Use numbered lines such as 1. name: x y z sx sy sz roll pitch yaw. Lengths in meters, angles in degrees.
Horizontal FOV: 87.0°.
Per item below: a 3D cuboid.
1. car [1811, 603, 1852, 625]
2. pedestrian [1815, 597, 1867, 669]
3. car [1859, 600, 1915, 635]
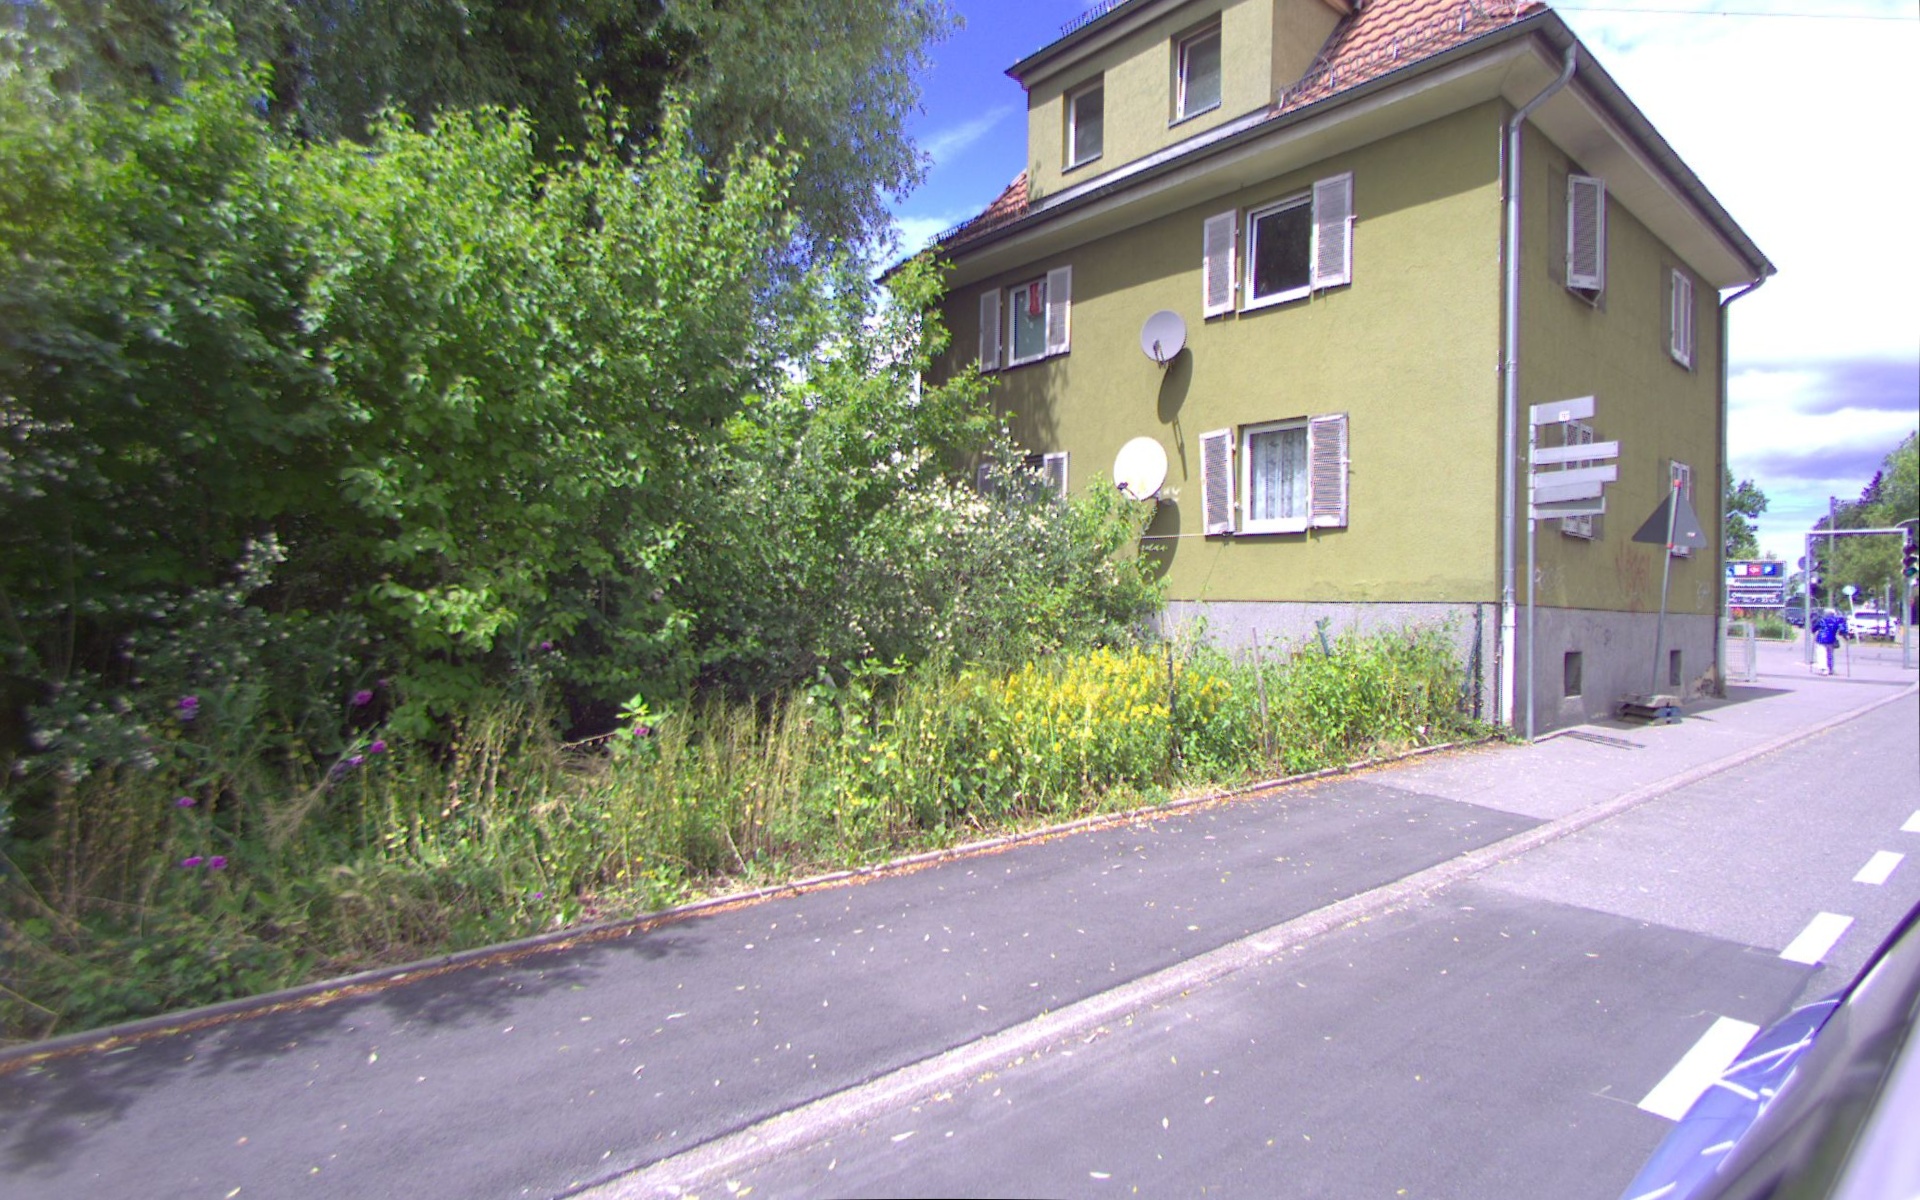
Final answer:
1. car: 62.465 0.973 72.602 1.694 1.551 3.951 -1 -1 34
2. pedestrian: 20.198 0.735 23.210 0.824 1.592 0.972 2 1 45
3. car: 45.612 0.827 49.866 1.788 1.549 3.864 3 2 40
